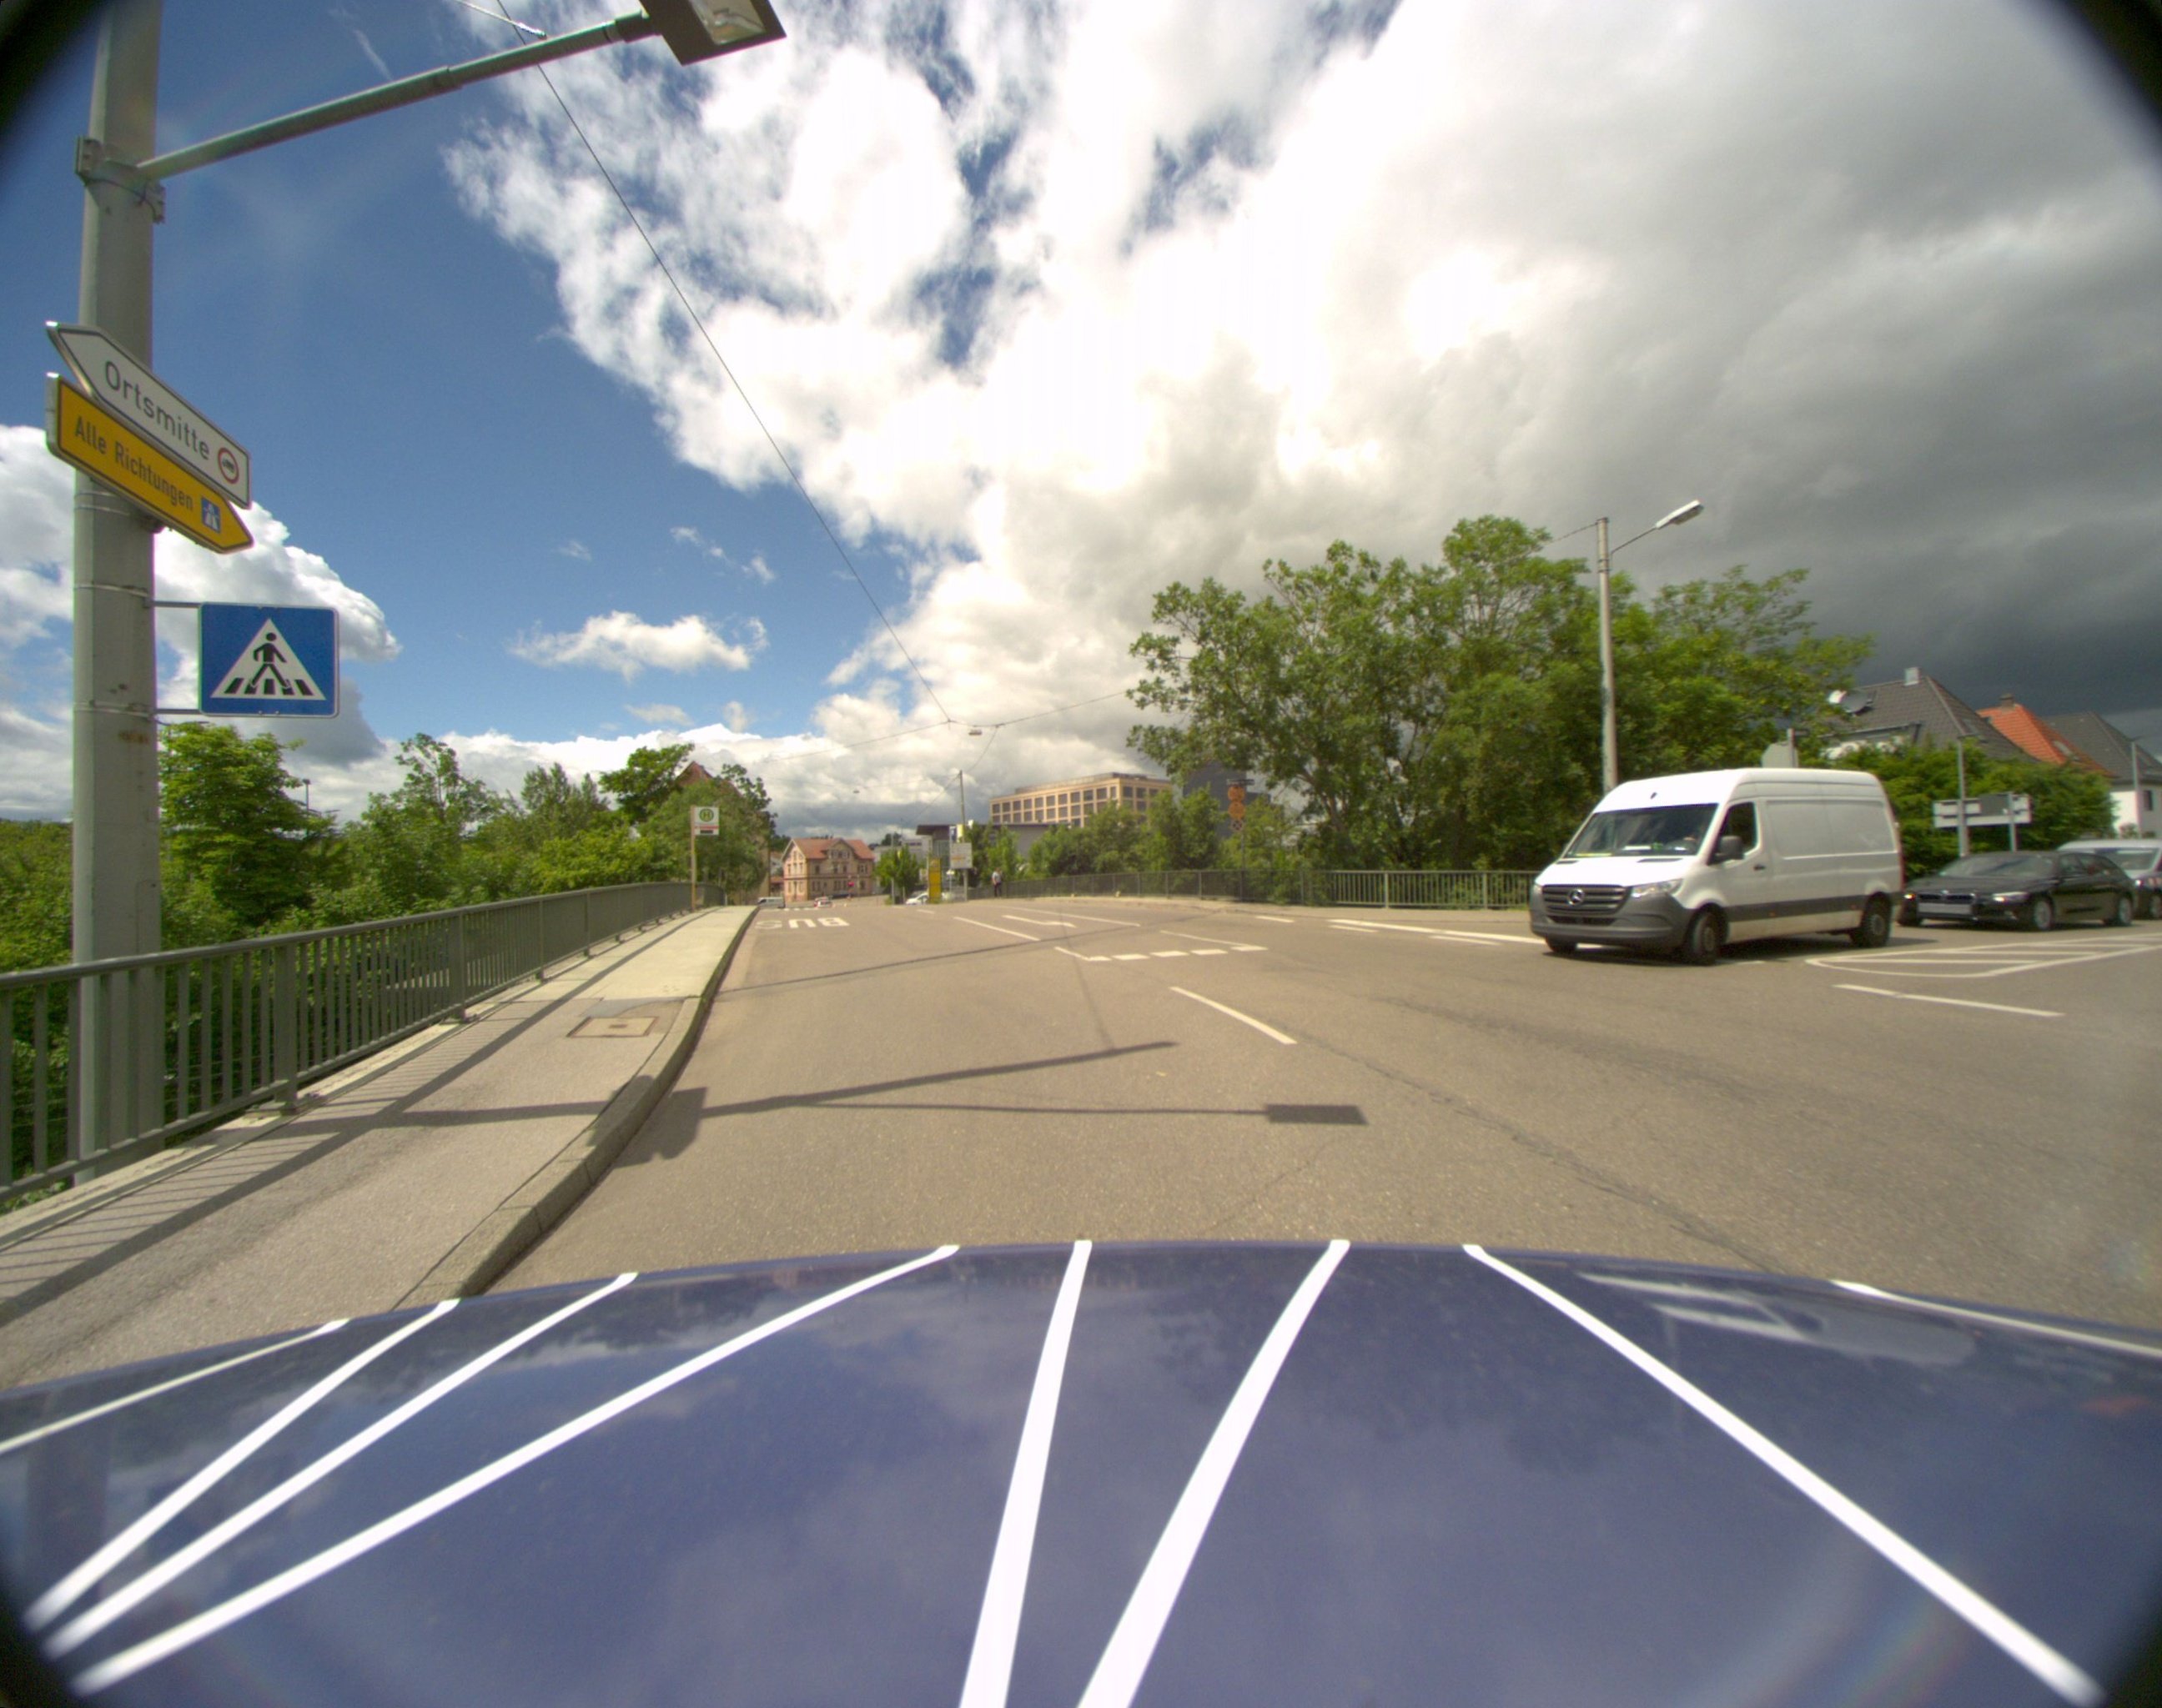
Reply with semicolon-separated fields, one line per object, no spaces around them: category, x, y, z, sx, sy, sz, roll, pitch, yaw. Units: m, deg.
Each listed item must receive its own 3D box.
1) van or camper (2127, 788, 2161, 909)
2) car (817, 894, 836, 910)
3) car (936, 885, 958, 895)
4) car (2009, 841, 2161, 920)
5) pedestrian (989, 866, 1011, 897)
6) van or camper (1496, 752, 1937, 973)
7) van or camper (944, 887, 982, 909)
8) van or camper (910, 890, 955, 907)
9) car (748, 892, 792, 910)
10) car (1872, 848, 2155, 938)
van or camper;30.627;-0.001;19.976;8.340;2.976;2.267;3;-3;-26
car;-28.296;5.347;84.559;1.726;1.572;3.994;-3;0;-21
car;-20.086;5.426;113.936;3.023;1.364;1.516;-1;-3;-19
car;23.075;0.555;16.925;4.407;1.578;1.996;0;-1;-25
pedestrian;-4.891;1.673;45.979;1.000;1.825;1.035;-2;-2;-21
van or camper;9.081;0.110;10.850;5.934;2.552;2.190;0;0;-21
van or camper;-11.680;4.365;75.515;1.987;1.951;4.965;-3;-2;12
van or camper;-16.374;4.875;83.510;4.686;1.739;1.998;-1;-2;-16
car;-41.288;6.213;100.986;1.995;1.981;4.999;-4;0;43
car;17.149;0.657;14.008;4.233;1.465;1.997;0;-1;-20
